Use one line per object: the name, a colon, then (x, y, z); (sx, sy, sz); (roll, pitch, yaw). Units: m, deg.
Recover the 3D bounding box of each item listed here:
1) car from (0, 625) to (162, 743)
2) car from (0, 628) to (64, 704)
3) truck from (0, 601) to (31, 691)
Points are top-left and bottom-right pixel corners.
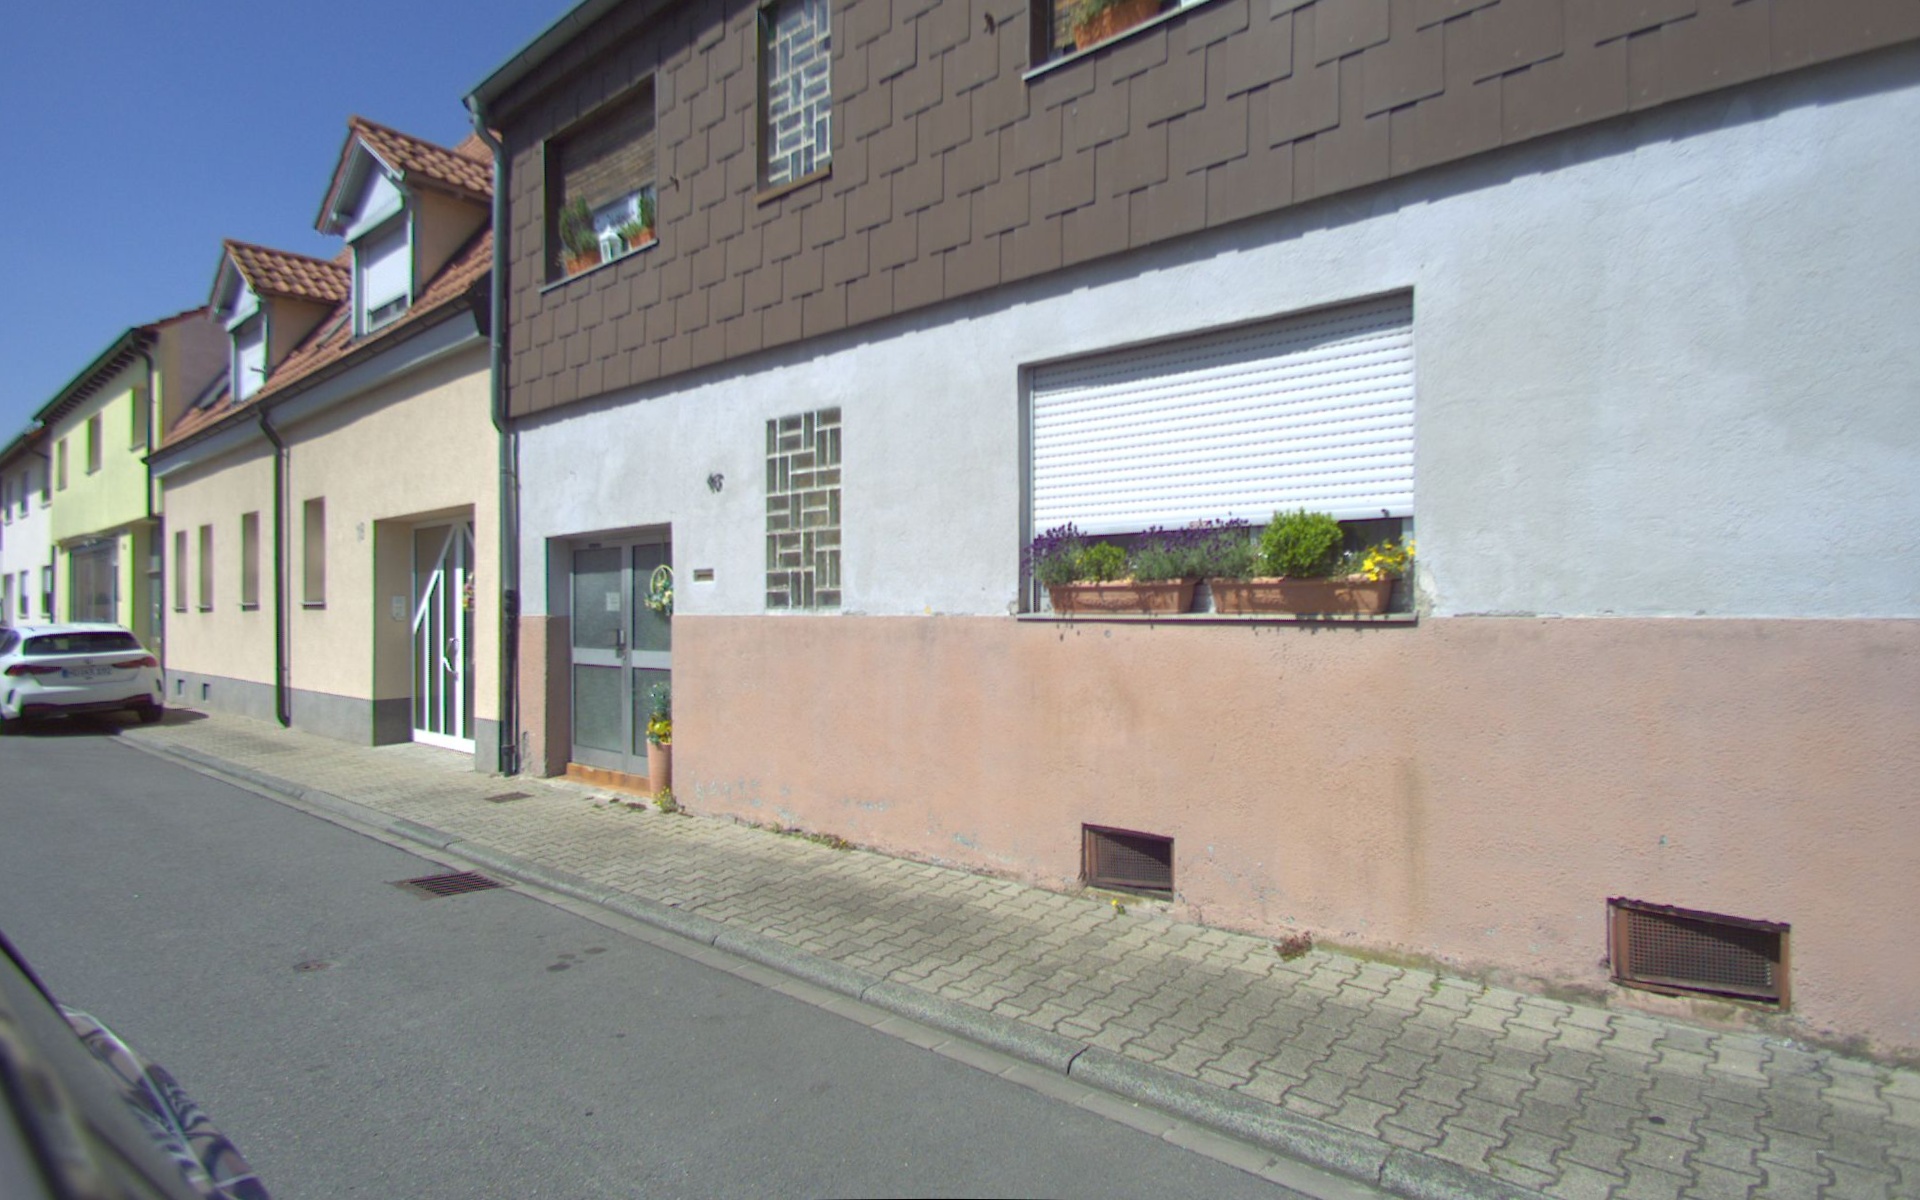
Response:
car: (-13.264, 1.117, 14.836); (4.214, 1.465, 1.763); (-1, -2, 42)
car: (-19.713, 1.256, 20.289); (4.628, 1.405, 1.902); (-1, -4, 40)
truck: (-23.870, 1.056, 24.027); (5.078, 2.029, 2.159); (-1, -2, 42)
